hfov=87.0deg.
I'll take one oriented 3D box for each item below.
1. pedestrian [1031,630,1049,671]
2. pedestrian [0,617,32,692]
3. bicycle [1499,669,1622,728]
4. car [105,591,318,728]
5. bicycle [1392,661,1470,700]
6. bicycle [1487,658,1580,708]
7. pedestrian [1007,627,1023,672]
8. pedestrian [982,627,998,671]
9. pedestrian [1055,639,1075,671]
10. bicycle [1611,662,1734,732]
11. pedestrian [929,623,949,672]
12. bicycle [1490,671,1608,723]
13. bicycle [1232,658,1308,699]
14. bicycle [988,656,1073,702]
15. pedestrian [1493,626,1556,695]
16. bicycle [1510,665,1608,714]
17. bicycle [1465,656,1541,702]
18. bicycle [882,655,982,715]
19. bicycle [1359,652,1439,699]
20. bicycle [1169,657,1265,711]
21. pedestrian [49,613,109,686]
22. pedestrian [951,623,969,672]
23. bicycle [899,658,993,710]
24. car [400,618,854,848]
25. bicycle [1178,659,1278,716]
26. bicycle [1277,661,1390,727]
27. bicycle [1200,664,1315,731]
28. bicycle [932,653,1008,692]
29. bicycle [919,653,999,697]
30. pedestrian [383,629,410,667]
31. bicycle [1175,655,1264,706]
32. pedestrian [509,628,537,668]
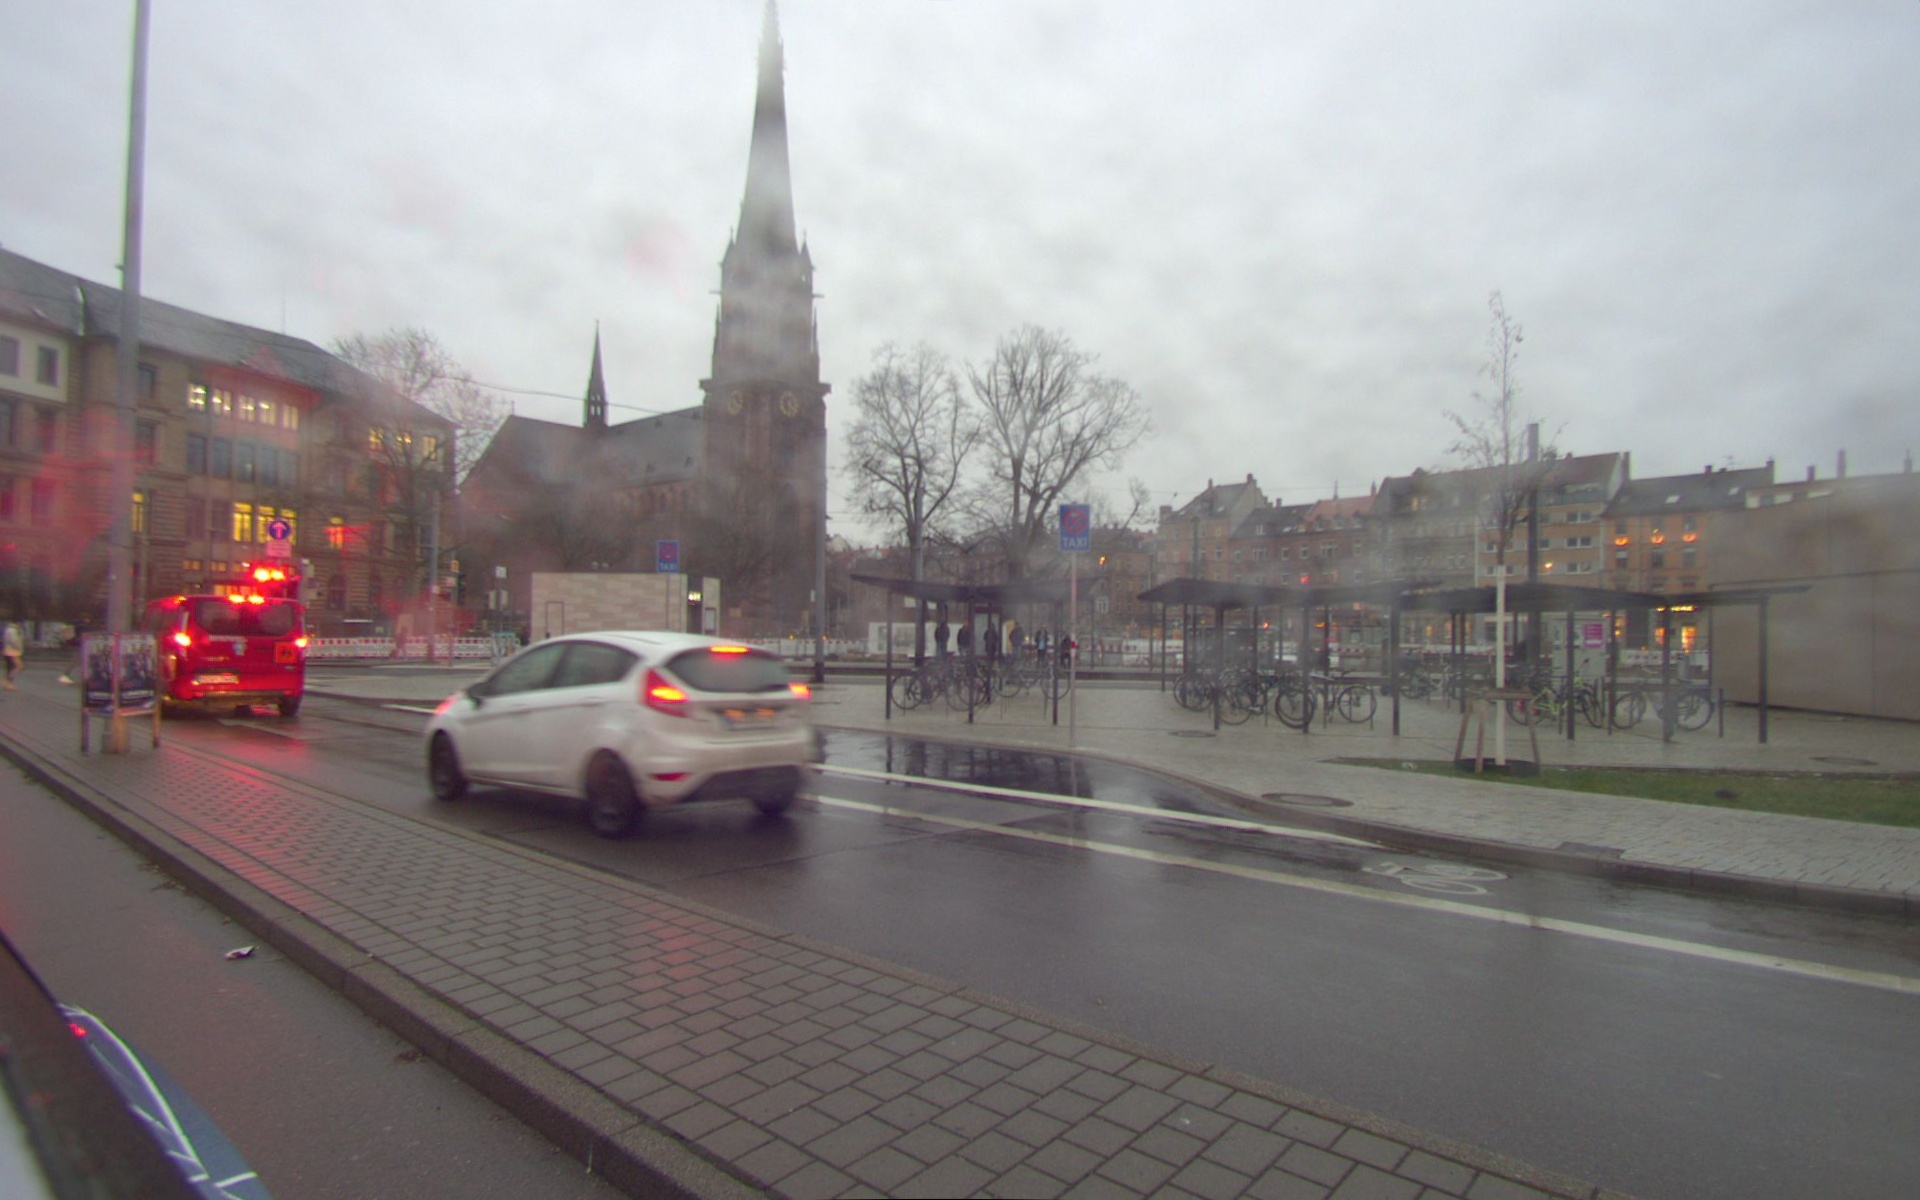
[{"bbox_3d":[3.031,1.910,38.336,0.580,1.513,0.675,-1,0,-1],"label":"pedestrian"},{"bbox_3d":[-22.439,1.284,23.788,0.673,1.736,0.788,-1,-3,40],"label":"pedestrian"},{"bbox_3d":[11.123,1.814,18.788,1.905,0.983,0.473,1,-1,11],"label":"bicycle"},{"bbox_3d":[-13.164,0.993,17.703,4.640,2.086,1.904,-1,-4,40],"label":"car"},{"bbox_3d":[11.618,1.991,24.995,1.672,0.898,0.474,1,-1,5],"label":"bicycle"},{"bbox_3d":[13.250,1.909,23.421,1.810,1.081,0.474,1,-1,8],"label":"bicycle"},{"bbox_3d":[2.065,1.855,38.117,0.543,1.648,0.571,-1,0,-1],"label":"pedestrian"},{"bbox_3d":[1.146,1.859,38.655,0.556,1.664,0.540,-1,0,-1],"label":"pedestrian"},{"bbox_3d":[3.978,2.072,38.328,0.610,1.165,0.806,-1,0,-1],"label":"pedestrian"},{"bbox_3d":[12.687,1.725,18.049,1.731,1.165,0.617,1,-1,1],"label":"bicycle"},{"bbox_3d":[-0.792,1.812,38.507,0.659,1.808,0.828,-1,0,-7],"label":"pedestrian"},{"bbox_3d":[11.364,1.862,19.575,1.905,0.898,0.473,1,-1,11],"label":"bicycle"},{"bbox_3d":[7.660,1.942,25.074,1.729,0.946,0.474,1,-1,7],"label":"bicycle"},{"bbox_3d":[1.637,1.821,23.427,1.905,0.993,0.473,1,-1,11],"label":"bicycle"},{"bbox_3d":[15.076,1.611,27.056,1.052,1.778,1.011,0,-3,0],"label":"pedestrian"},{"bbox_3d":[12.898,1.919,21.834,1.751,0.963,0.473,1,-1,11],"label":"bicycle"},{"bbox_3d":[13.230,1.916,24.668,1.551,1.044,0.521,1,-1,1],"label":"bicycle"},{"bbox_3d":[-0.541,1.653,19.871,1.905,1.078,0.473,1,-1,11],"label":"bicycle"},{"bbox_3d":[11.182,1.925,25.806,1.780,1.116,0.473,1,-1,11],"label":"bicycle"},{"bbox_3d":[5.428,1.773,21.405,1.899,1.078,0.474,1,-1,2],"label":"bicycle"},{"bbox_3d":[-23.818,1.341,27.371,0.671,1.915,0.991,0,-3,26],"label":"pedestrian"},{"bbox_3d":[0.002,1.802,38.582,0.619,1.808,0.672,-1,0,-1],"label":"pedestrian"},{"bbox_3d":[-0.290,1.733,21.108,1.905,0.993,0.473,1,-1,11],"label":"bicycle"},{"bbox_3d":[-2.835,0.938,8.352,3.708,1.459,1.723,0,-4,38],"label":"car"},{"bbox_3d":[5.442,1.774,20.621,1.905,1.078,0.473,1,-1,11],"label":"bicycle"},{"bbox_3d":[6.943,1.735,18.870,1.905,1.129,0.473,1,-1,11],"label":"bicycle"},{"bbox_3d":[5.253,1.720,17.960,1.905,1.078,0.473,1,-1,11],"label":"bicycle"},{"bbox_3d":[0.268,1.868,26.130,1.905,0.917,0.473,1,-1,11],"label":"bicycle"},{"bbox_3d":[-0.017,1.828,24.873,1.905,0.993,0.473,1,-1,11],"label":"bicycle"},{"bbox_3d":[-27.976,2.378,50.215,0.889,1.830,0.671,1,-2,13],"label":"pedestrian"},{"bbox_3d":[5.847,1.808,22.853,1.905,1.078,0.473,1,-1,11],"label":"bicycle"},{"bbox_3d":[-20.992,2.310,48.624,0.962,1.915,0.673,1,-2,6],"label":"pedestrian"}]
